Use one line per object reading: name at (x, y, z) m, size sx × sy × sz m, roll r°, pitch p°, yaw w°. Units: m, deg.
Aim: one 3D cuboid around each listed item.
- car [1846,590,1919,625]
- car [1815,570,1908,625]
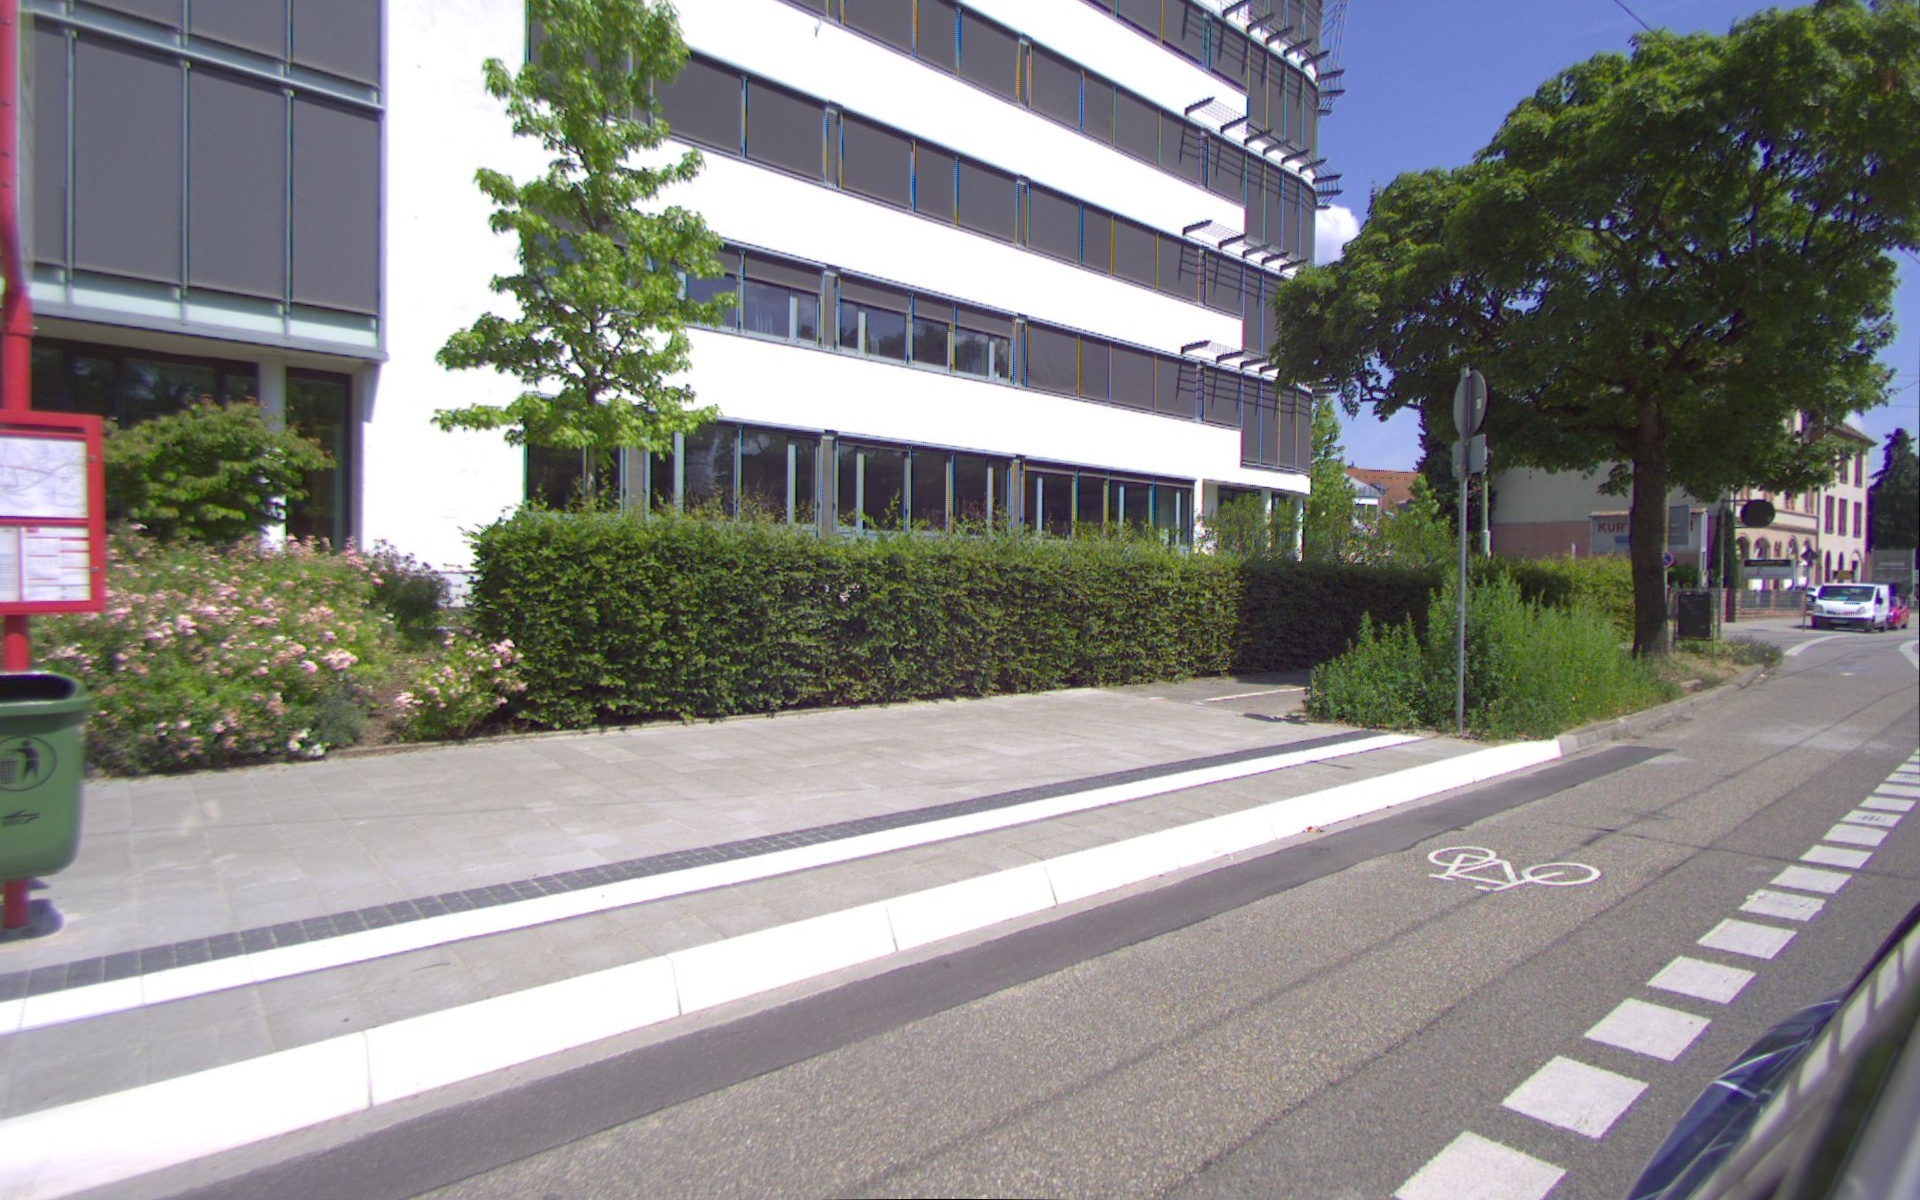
car at (40.880, 0.312, 44.716) m, size 3.945 × 1.460 × 1.998 m, roll 0°, pitch 0°, yaw -40°
car at (36.362, -0.127, 40.777) m, size 5.417 × 2.016 × 1.998 m, roll 0°, pitch 3°, yaw -41°
